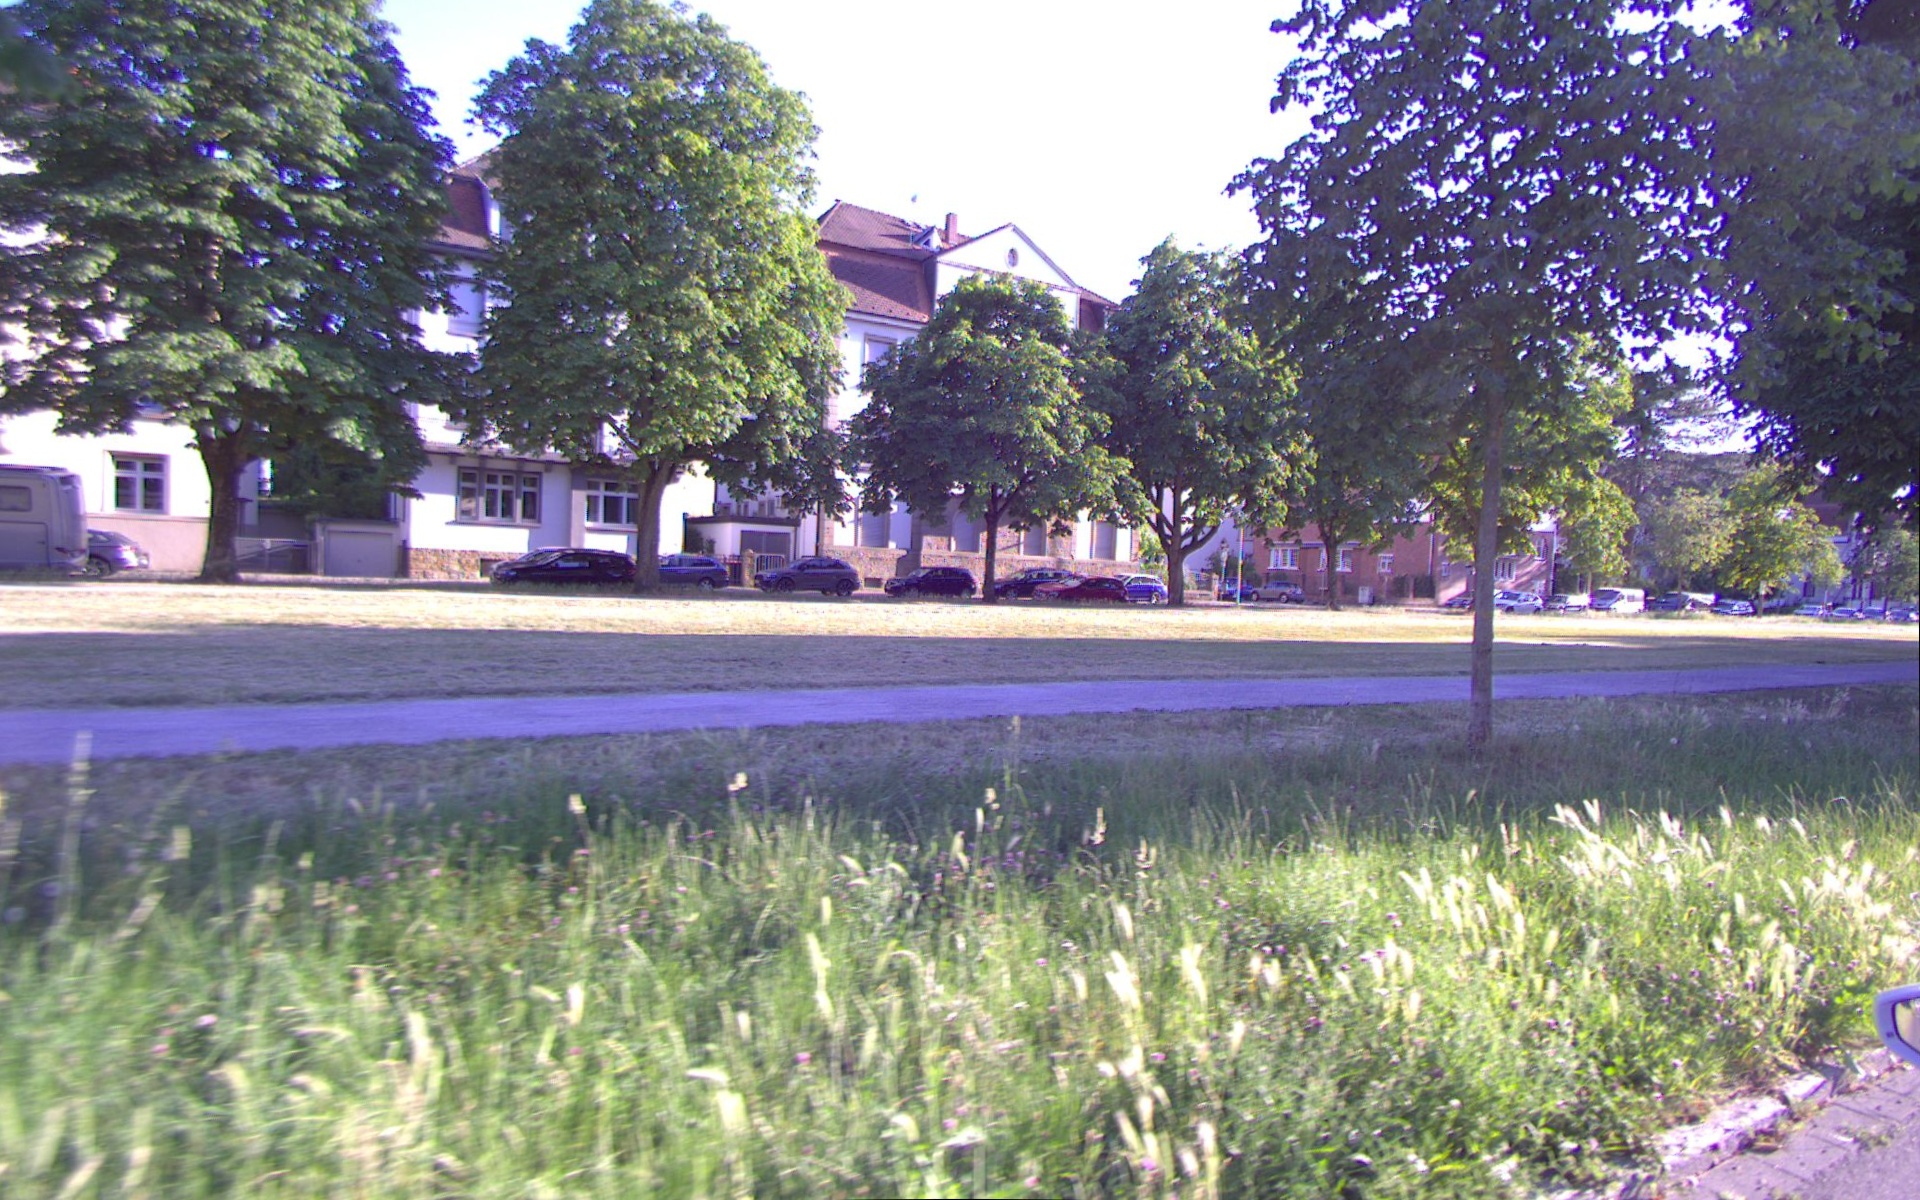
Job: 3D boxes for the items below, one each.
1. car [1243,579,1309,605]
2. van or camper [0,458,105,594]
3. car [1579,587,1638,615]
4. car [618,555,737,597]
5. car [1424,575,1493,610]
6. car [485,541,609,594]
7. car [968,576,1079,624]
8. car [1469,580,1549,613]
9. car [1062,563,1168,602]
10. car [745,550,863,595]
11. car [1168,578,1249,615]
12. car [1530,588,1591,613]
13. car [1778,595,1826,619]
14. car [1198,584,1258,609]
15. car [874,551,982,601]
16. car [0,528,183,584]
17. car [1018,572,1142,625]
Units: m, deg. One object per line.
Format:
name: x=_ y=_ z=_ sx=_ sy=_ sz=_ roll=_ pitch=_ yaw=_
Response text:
car: x=20.955 y=-0.557 z=66.727 sx=1.842 sy=1.506 sz=3.969 roll=1 pitch=2 yaw=-29
van or camper: x=-25.620 y=-1.873 z=23.666 sx=7.803 sy=3.152 sz=3.238 roll=1 pitch=2 yaw=-30
car: x=47.248 y=0.075 z=73.165 sx=4.356 sy=1.862 sz=1.808 roll=1 pitch=2 yaw=-30
car: x=-10.960 y=-0.929 z=38.962 sx=4.117 sy=1.449 sz=1.985 roll=1 pitch=2 yaw=-29
car: x=31.672 y=-0.468 z=63.768 sx=4.316 sy=2.041 sz=1.748 roll=1 pitch=3 yaw=-30
car: x=-14.944 y=-1.169 z=36.364 sx=3.951 sy=1.758 sz=1.985 roll=1 pitch=2 yaw=-29
car: x=2.986 y=0.002 z=47.039 sx=4.816 sy=2.041 sz=1.985 roll=1 pitch=2 yaw=-29
car: x=31.266 y=-0.189 z=57.184 sx=4.596 sy=1.661 sz=1.810 roll=1 pitch=3 yaw=-31
car: x=7.682 y=-0.853 z=49.645 sx=4.945 sy=1.773 sz=1.985 roll=1 pitch=2 yaw=-28
car: x=-6.403 y=-1.108 z=41.393 sx=4.379 sy=1.675 sz=1.983 roll=1 pitch=2 yaw=-32
car: x=15.825 y=-0.235 z=64.197 sx=1.982 sy=1.624 sz=4.833 roll=18 pitch=-6 yaw=-28
car: x=42.290 y=0.028 z=70.747 sx=4.254 sy=1.645 sz=1.748 roll=1 pitch=3 yaw=-30
car: x=75.662 y=0.648 z=90.282 sx=3.952 sy=2.040 sz=2.022 roll=2 pitch=0 yaw=-30
car: x=18.768 y=-0.258 z=70.415 sx=1.814 sy=1.595 sz=3.877 roll=1 pitch=2 yaw=-30
car: x=-1.397 y=-1.068 z=44.476 sx=4.379 sy=2.041 sz=1.983 roll=1 pitch=2 yaw=-32
car: x=-25.929 y=-1.309 z=30.083 sx=3.954 sy=1.484 sz=1.983 roll=1 pitch=3 yaw=-31
car: x=5.011 y=-0.062 z=41.673 sx=4.816 sy=2.041 sz=1.985 roll=1 pitch=2 yaw=-29
